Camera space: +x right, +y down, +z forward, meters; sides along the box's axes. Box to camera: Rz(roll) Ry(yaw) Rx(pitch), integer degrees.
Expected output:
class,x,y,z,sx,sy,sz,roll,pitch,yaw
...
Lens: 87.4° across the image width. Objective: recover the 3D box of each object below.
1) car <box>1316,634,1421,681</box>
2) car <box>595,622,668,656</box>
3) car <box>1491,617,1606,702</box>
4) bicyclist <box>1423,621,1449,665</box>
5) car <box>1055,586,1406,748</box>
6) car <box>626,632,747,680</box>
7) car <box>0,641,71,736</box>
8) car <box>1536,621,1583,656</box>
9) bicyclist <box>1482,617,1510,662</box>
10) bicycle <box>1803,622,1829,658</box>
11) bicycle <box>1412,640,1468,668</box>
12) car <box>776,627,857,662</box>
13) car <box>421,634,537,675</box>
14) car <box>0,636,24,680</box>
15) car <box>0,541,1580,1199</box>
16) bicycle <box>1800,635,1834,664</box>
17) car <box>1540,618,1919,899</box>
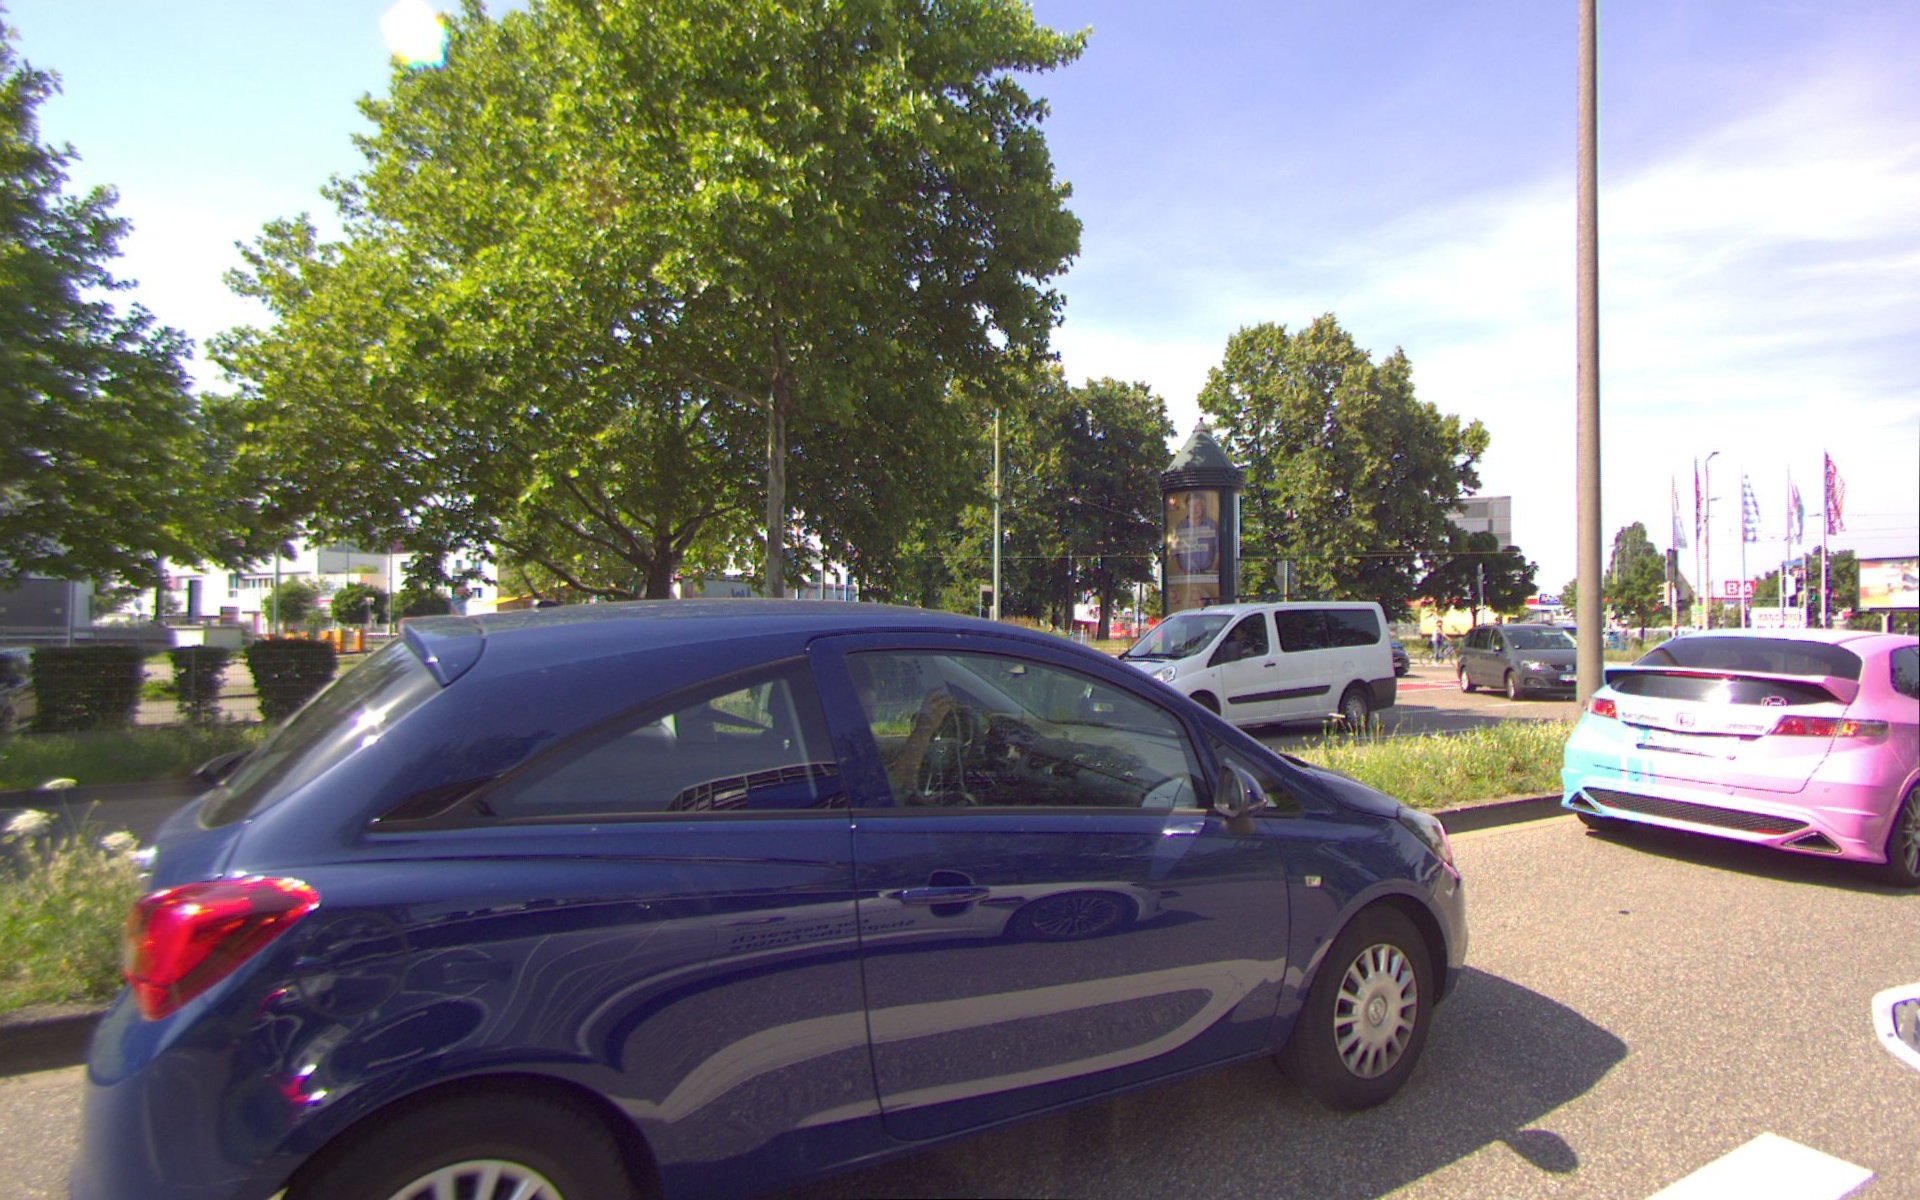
class,x,y,z,sx,sy,sz,roll,pitch,yaw
car,13.670,1.887,33.857,1.731,1.407,3.999,-1,-1,-3
car,-19.627,2.317,59.976,3.925,1.929,1.845,-2,0,25
car,13.544,1.333,23.349,1.834,1.773,4.397,-1,-2,25
bicyclist,18.821,1.700,39.753,0.883,1.668,0.787,-1,0,24
car,4.069,0.901,14.819,5.152,2.040,1.984,1,-2,-31
car,-10.301,2.093,38.238,1.961,1.687,4.845,-1,-2,21
car,-17.113,1.471,17.373,1.788,1.514,3.969,1,-2,-30
car,46.013,2.955,77.216,1.960,2.566,4.642,-1,-2,16
bicyclist,21.026,1.542,39.439,0.883,1.738,0.782,-1,0,24
bicycle,38.975,1.819,45.752,0.982,1.636,0.667,1,-2,-36
bicycle,18.951,2.115,39.689,1.972,1.053,0.744,-2,0,24
car,-7.787,2.417,54.570,3.925,1.795,1.845,-2,0,25
car,-20.291,2.265,42.542,1.783,1.642,4.339,-1,-2,23
car,-35.396,2.132,35.377,1.774,1.524,3.989,-2,0,-14
car,-0.001,0.694,3.107,4.002,1.503,1.618,1,0,-31
bicycle,39.063,2.253,45.773,2.225,1.273,0.667,1,-2,-36
car,6.156,0.861,7.052,4.421,1.408,1.693,1,0,-31
